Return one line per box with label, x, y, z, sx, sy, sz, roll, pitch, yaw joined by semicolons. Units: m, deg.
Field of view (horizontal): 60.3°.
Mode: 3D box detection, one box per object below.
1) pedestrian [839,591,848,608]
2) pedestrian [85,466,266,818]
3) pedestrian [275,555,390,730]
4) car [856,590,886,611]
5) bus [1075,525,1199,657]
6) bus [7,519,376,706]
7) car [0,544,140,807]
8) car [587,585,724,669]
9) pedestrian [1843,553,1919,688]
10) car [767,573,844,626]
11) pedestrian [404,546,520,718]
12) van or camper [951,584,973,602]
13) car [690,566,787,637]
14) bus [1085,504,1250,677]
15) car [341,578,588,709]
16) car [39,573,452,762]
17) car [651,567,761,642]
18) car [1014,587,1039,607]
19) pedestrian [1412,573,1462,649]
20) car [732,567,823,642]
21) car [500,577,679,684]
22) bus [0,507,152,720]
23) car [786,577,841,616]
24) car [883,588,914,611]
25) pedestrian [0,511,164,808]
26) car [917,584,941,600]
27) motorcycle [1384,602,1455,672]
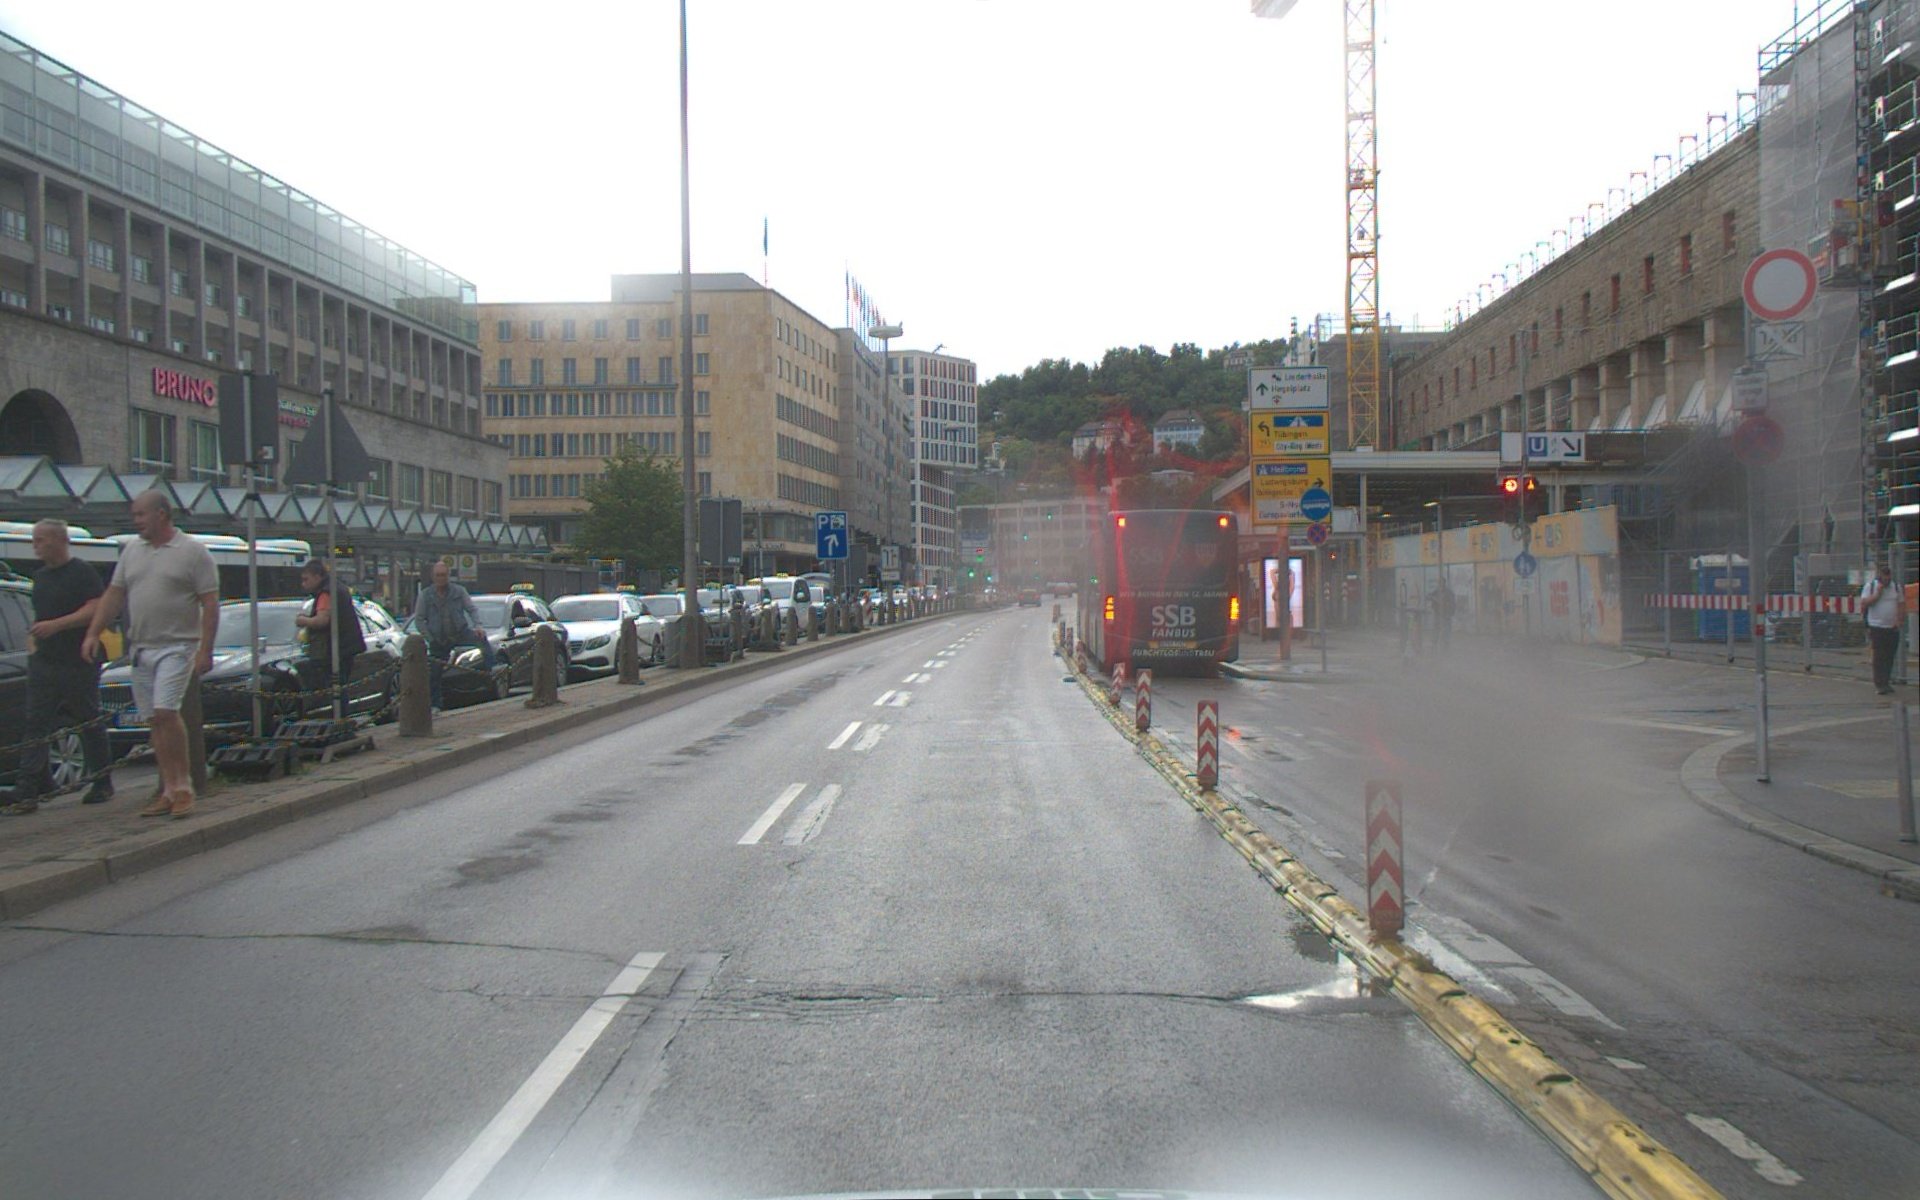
pedestrian;-11.024;-0.005;156.228;0.706;1.584;0.895;-1;0;6
pedestrian;-4.736;0.240;10.026;0.708;2.043;0.773;0;0;2
pedestrian;-6.063;0.389;16.028;0.708;1.634;0.996;1;1;2
car;-7.296;0.033;135.341;1.921;1.591;4.837;-3;1;2
bus;4.501;-0.218;43.637;2.698;3.119;8.996;0;0;3
bus;-16.427;0.191;36.608;2.817;3.520;10.578;-1;0;2
car;-7.236;0.531;10.193;1.890;1.720;4.683;-2;0;1
car;-6.484;0.546;35.797;1.890;1.604;5.053;-2;0;1
pedestrian;13.307;0.287;23.910;0.631;1.879;0.659;-3;0;2
car;-5.388;-0.038;58.318;1.952;1.752;4.784;-1;0;4
pedestrian;-5.337;0.333;17.752;1.028;1.799;0.616;-1;0;1
van or camper;0.259;-0.800;188.551;1.951;2.049;5.192;-1;0;6
car;-6.255;0.030;47.204;1.889;1.837;4.584;-2;0;3
bus;4.110;-0.187;34.584;2.698;3.122;9.083;0;0;3
car;-6.916;0.554;23.714;1.890;1.604;5.013;-2;0;1
car;-7.170;0.601;17.344;1.890;1.604;5.262;-2;0;1
car;-6.390;0.113;42.118;1.890;1.728;4.886;-2;0;1
car;5.705;-0.249;141.590;1.952;1.579;4.002;-1;0;4
pedestrian;10.630;0.231;36.850;0.889;1.664;0.827;0;0;29
car;-5.751;0.105;52.773;1.952;2.216;5.546;-1;0;3
car;-6.582;0.503;30.006;1.935;1.688;5.193;-2;0;1
bus;-16.908;0.240;26.015;2.817;3.435;10.578;-1;0;2
car;-6.222;-0.154;70.735;1.953;1.579;4.000;-1;0;0
car;-4.733;-0.079;127.625;1.921;1.591;4.837;-3;1;2
pedestrian;-5.512;0.355;10.347;0.684;1.785;0.711;-1;0;2
car;-3.319;-0.907;179.148;1.951;1.645;4.981;-1;0;6
motorcycle;8.038;0.635;28.911;0.576;1.186;1.608;0;0;41
